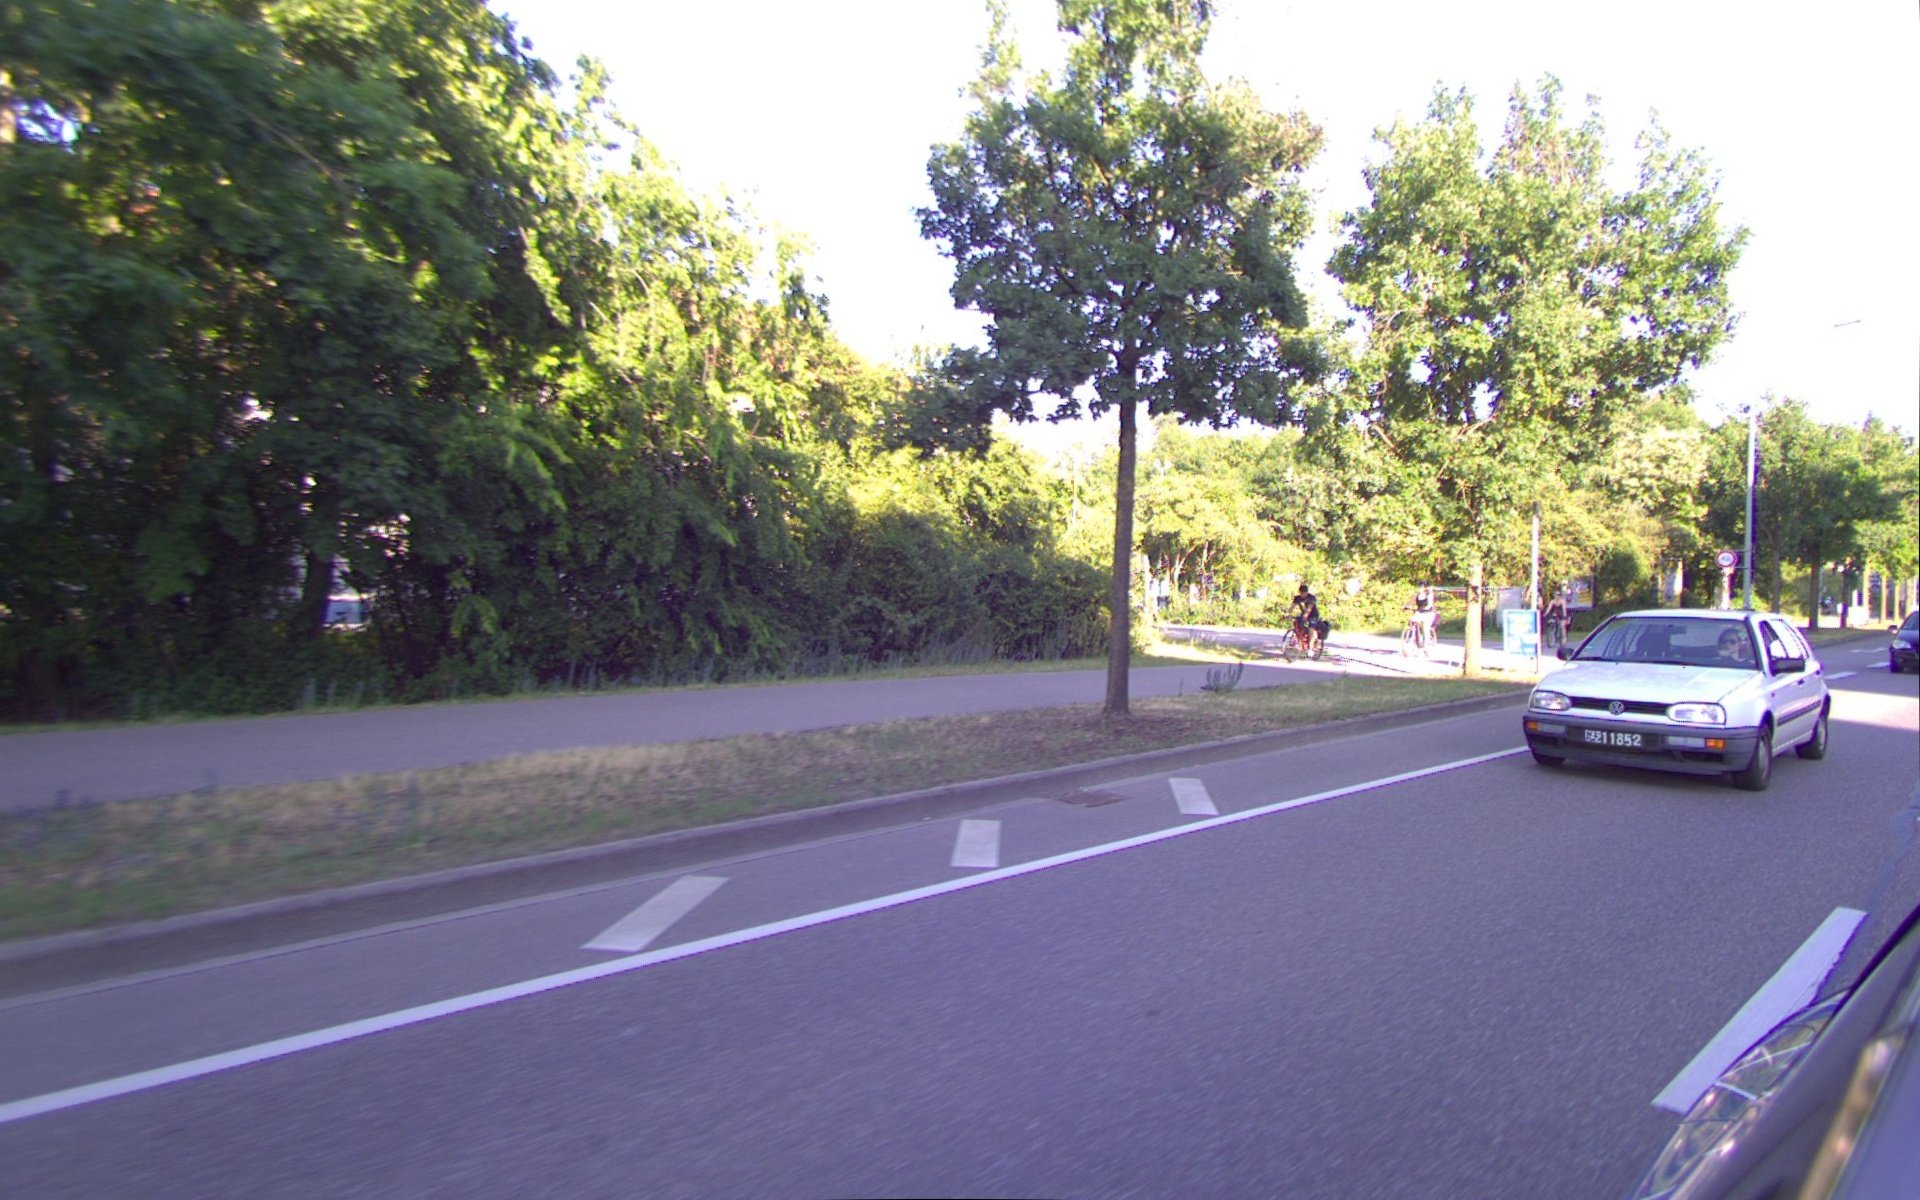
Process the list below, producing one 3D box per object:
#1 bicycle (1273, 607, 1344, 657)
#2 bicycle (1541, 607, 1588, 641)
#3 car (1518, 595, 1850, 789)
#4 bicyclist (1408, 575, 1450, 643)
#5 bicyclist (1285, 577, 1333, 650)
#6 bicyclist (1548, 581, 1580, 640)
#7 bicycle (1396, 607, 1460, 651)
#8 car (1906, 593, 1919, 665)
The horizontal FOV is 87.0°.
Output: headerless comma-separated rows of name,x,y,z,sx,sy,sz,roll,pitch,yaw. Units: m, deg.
bicycle,7.436,0.655,21.556,1.790,0.986,0.618,0,1,-41
bicycle,18.665,0.719,31.241,2.022,0.986,0.618,0,1,-41
car,6.803,0.686,9.348,3.967,1.416,1.614,1,0,-41
bicyclist,11.375,0.207,24.533,0.833,1.598,0.604,0,1,-41
bicyclist,7.420,0.268,21.528,0.833,1.520,0.614,0,1,-41
bicyclist,18.630,0.313,31.202,0.833,1.755,0.604,0,1,-41
bicycle,11.370,0.683,24.545,2.022,0.986,0.618,0,1,-41
car,22.422,0.607,22.562,4.144,1.518,1.723,-1,0,-44
